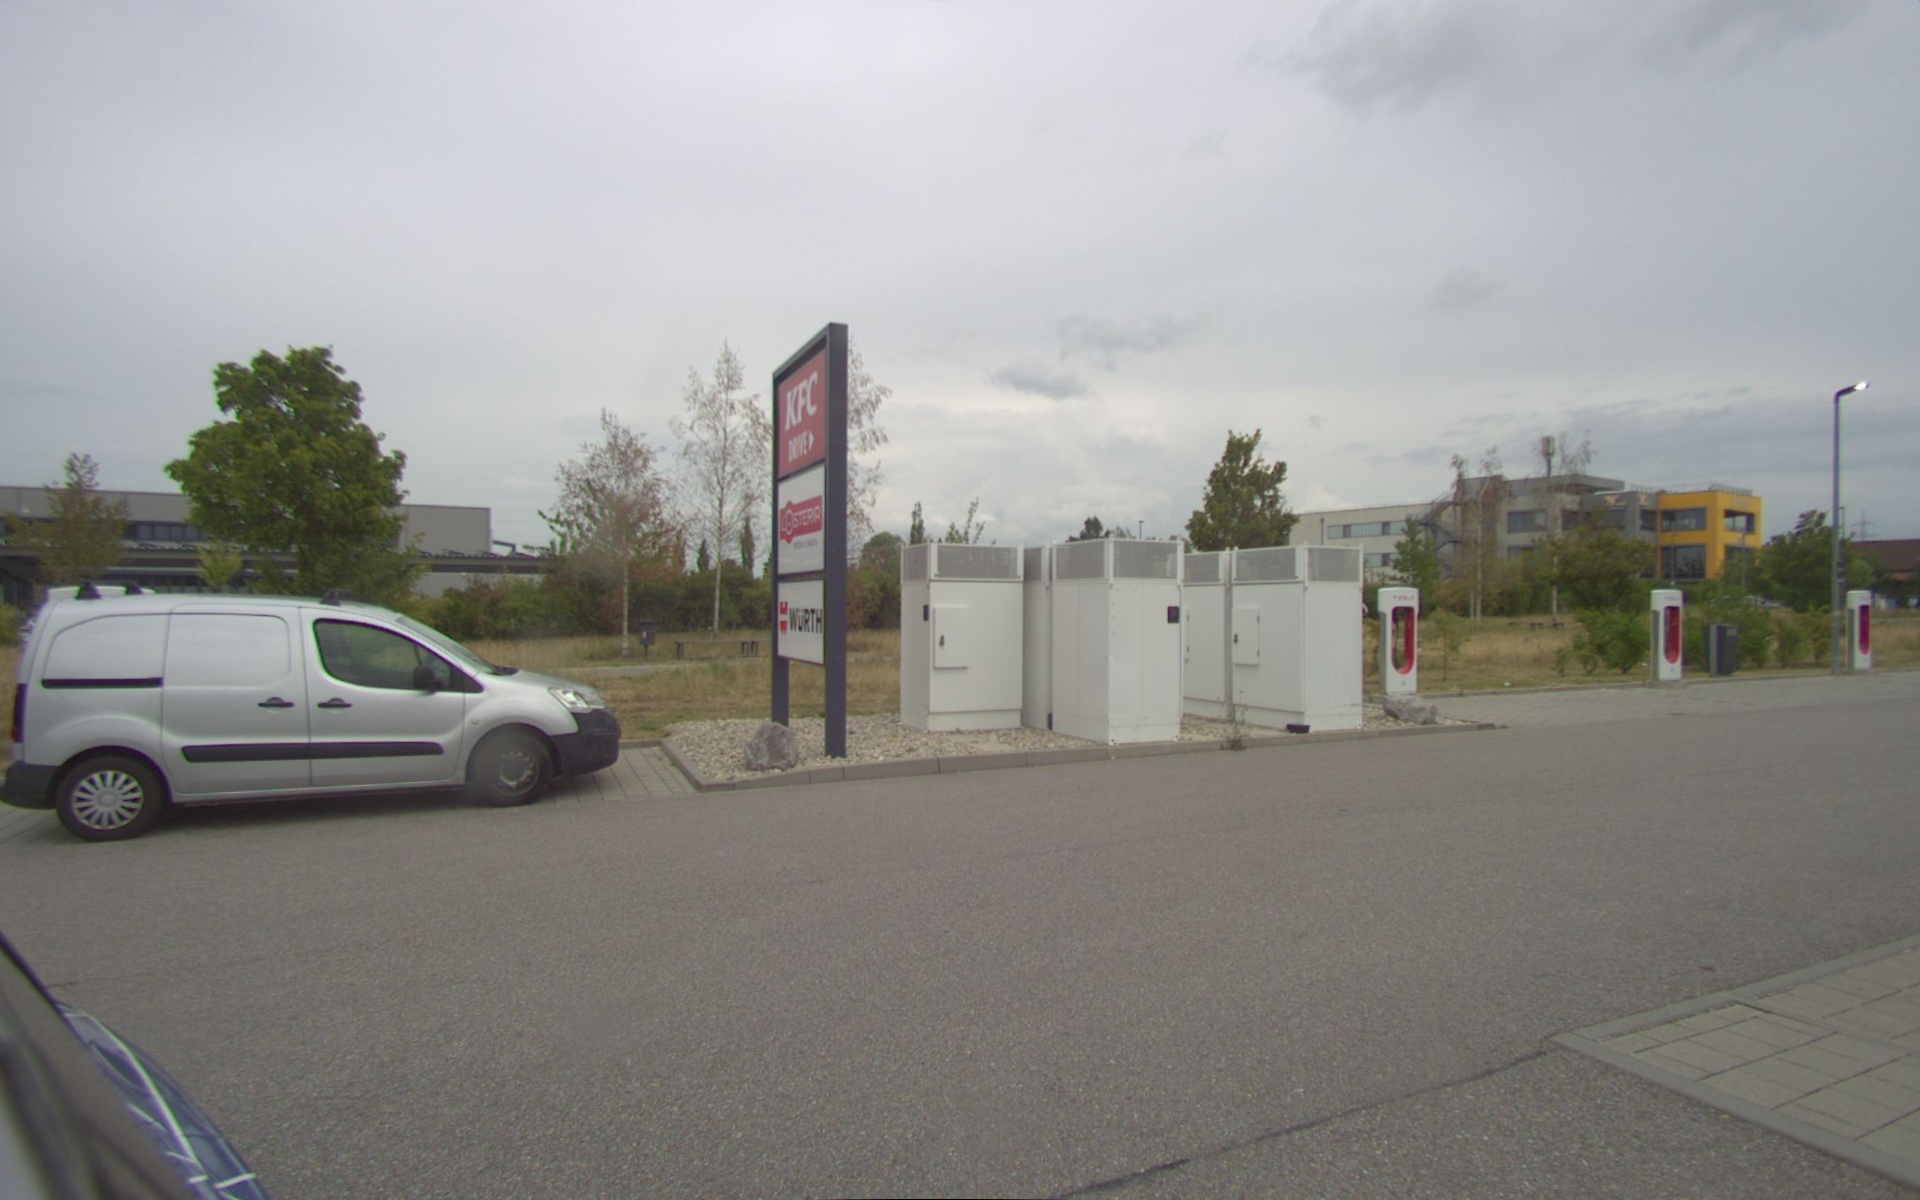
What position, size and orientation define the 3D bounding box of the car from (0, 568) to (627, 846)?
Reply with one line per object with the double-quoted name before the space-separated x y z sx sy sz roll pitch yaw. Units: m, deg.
"car" -5.209 0.787 8.659 4.261 1.902 1.952 1 -2 -25
